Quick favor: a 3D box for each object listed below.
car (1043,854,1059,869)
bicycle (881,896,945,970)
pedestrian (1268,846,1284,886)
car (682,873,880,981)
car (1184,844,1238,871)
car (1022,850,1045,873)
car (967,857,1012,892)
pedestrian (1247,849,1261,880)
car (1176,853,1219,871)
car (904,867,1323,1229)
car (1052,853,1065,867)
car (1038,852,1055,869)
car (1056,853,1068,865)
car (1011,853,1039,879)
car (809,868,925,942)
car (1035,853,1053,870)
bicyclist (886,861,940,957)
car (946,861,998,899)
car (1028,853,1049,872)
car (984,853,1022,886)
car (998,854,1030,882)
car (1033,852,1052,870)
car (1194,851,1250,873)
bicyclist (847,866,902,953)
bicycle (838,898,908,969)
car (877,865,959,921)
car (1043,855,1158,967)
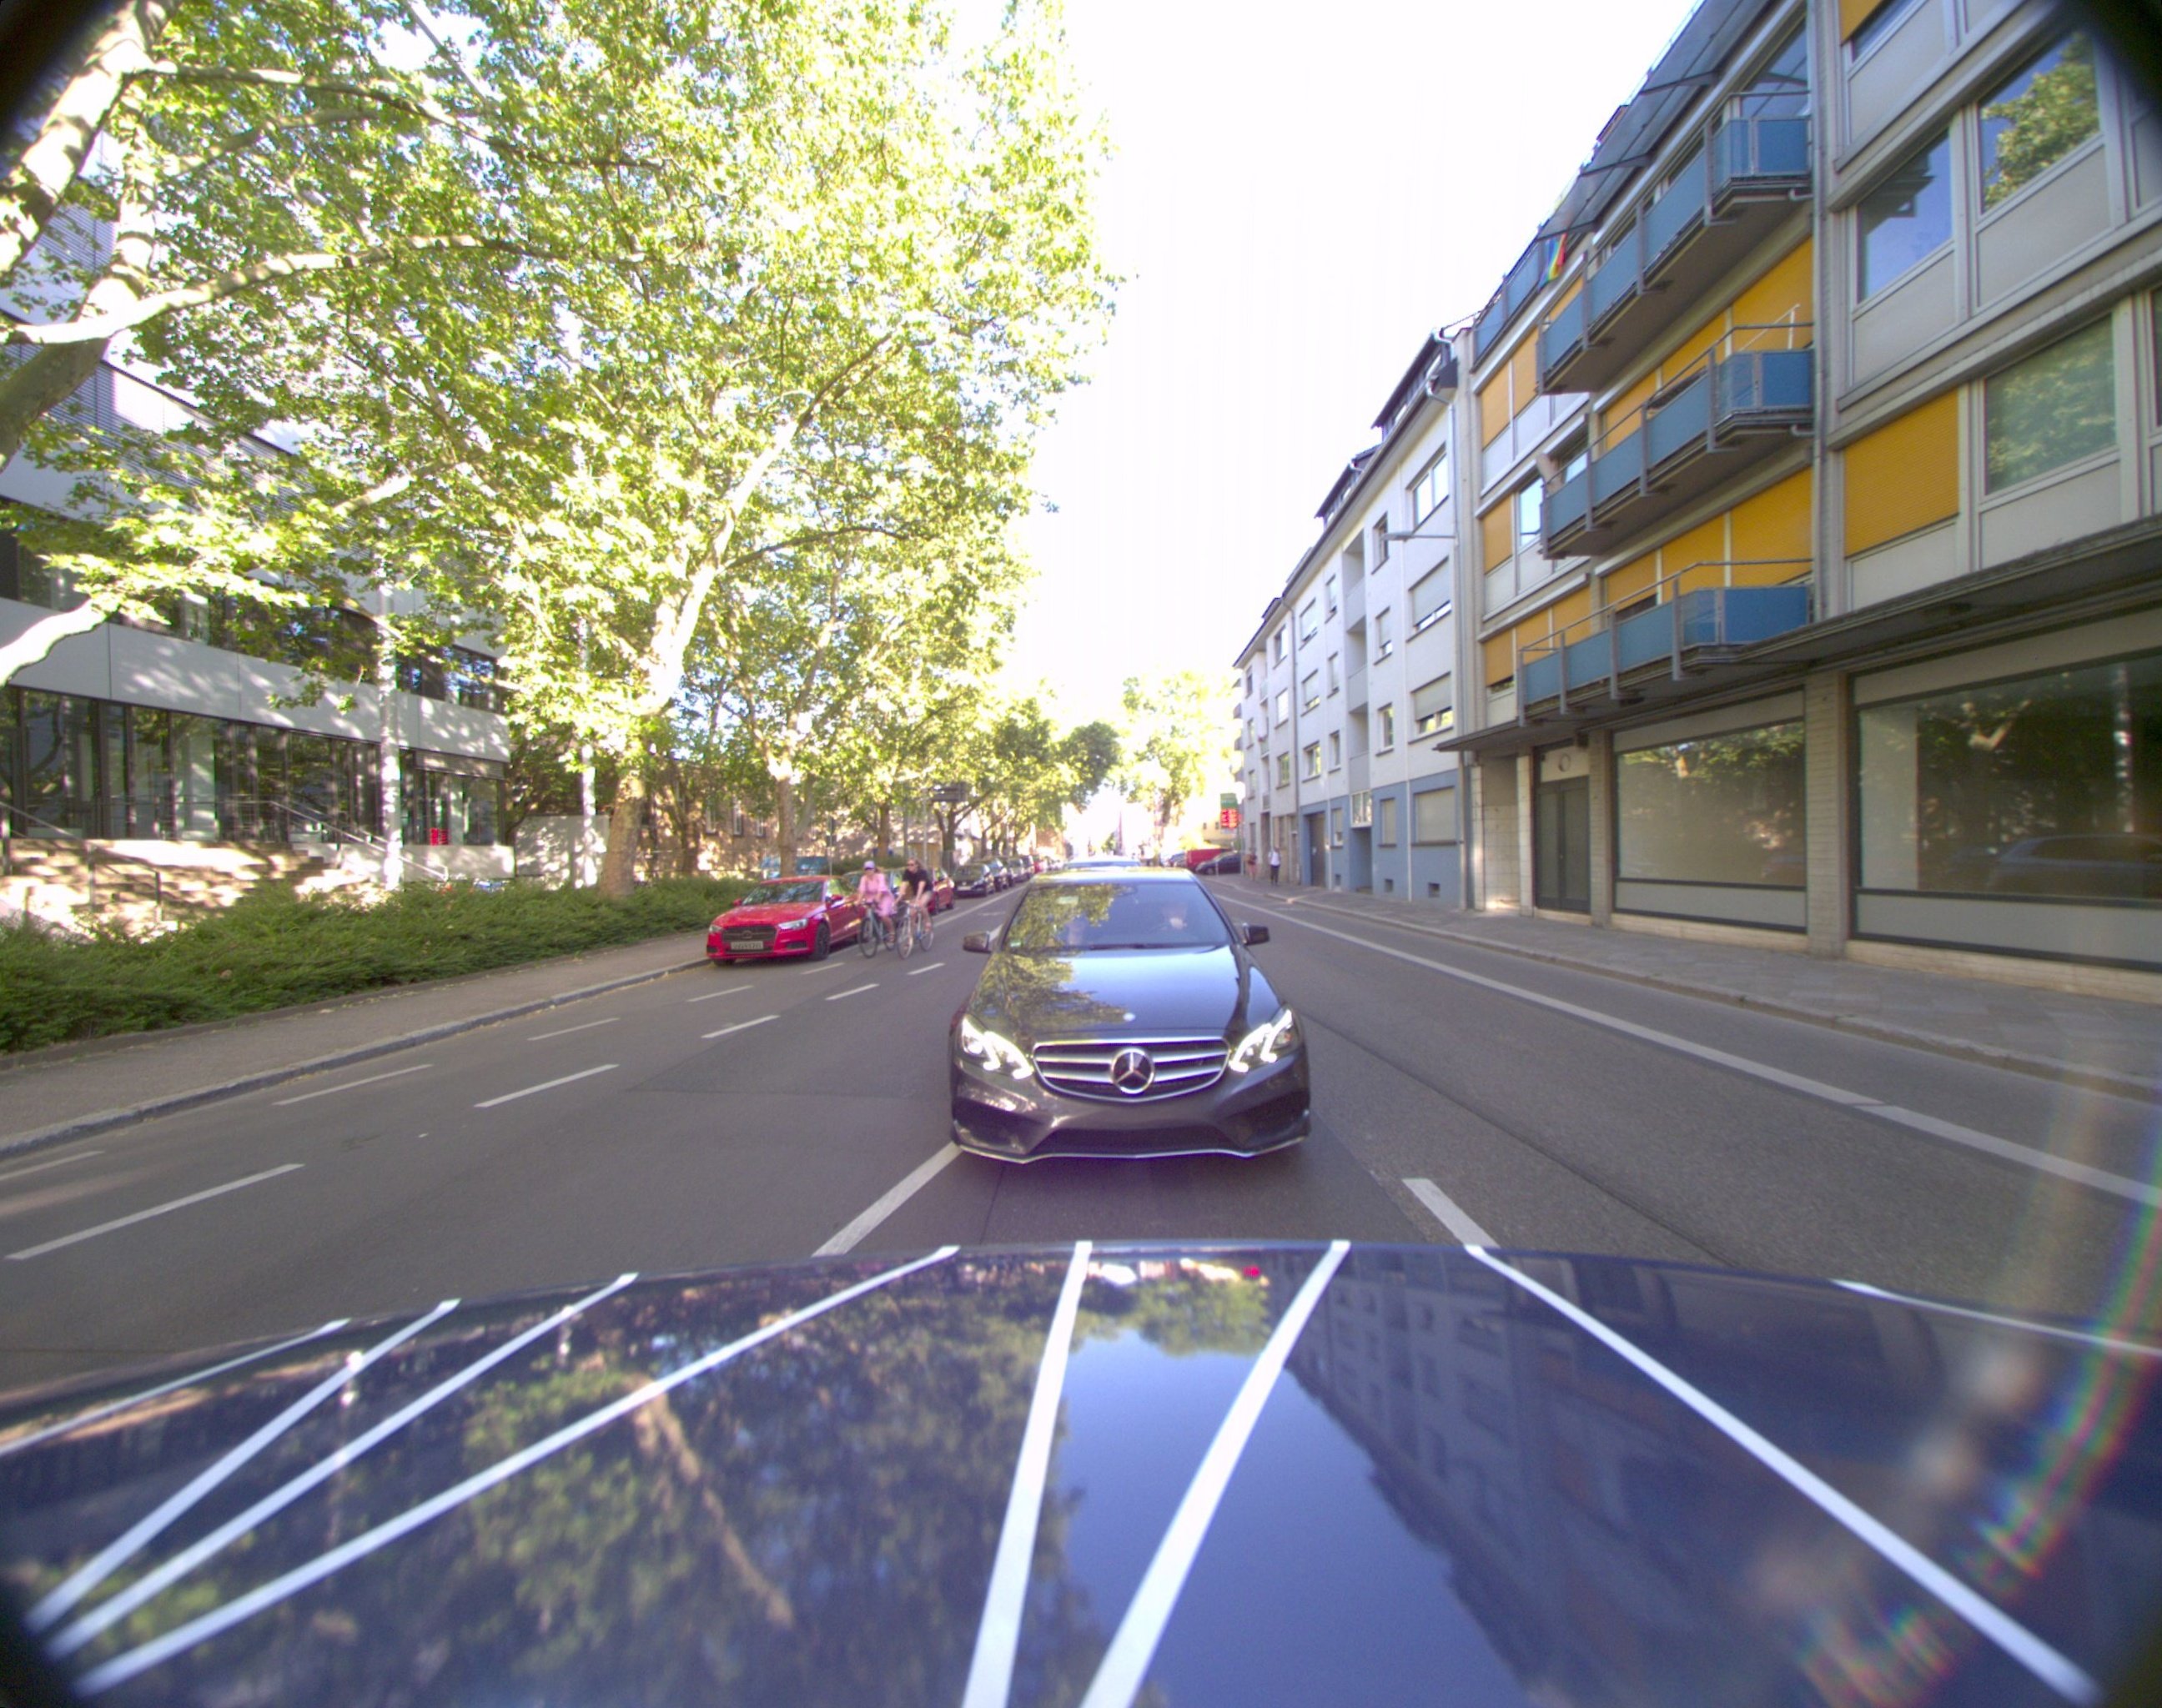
[{"bbox_3d":[-3.619,0.931,92.520,1.635,1.713,3.673,-3,0,1],"label":"car"},{"bbox_3d":[-2.759,1.267,12.634,0.612,1.020,1.731,-3,0,1],"label":"bicycle"},{"bbox_3d":[8.571,0.506,33.399,0.569,1.716,0.343,-3,1,1],"label":"pedestrian"},{"bbox_3d":[-5.145,1.166,13.704,1.804,1.455,4.125,-3,0,1],"label":"car"},{"bbox_3d":[10.240,0.266,59.938,3.927,1.912,1.636,-3,0,1],"label":"car"},{"bbox_3d":[-4.127,0.646,66.125,1.635,1.878,3.673,-3,0,1],"label":"car"},{"bbox_3d":[-4.521,0.975,38.045,1.635,1.578,3.845,-3,0,1],"label":"car"},{"bbox_3d":[8.638,0.517,37.924,0.569,1.509,0.343,-3,1,1],"label":"pedestrian"},{"bbox_3d":[9.596,0.642,62.642,3.325,1.241,1.295,-3,0,1],"label":"car"},{"bbox_3d":[0.174,0.907,5.461,1.804,1.455,4.125,-3,0,1],"label":"car"},{"bbox_3d":[-3.030,0.797,102.833,1.635,1.713,3.673,-3,0,1],"label":"car"},{"bbox_3d":[-3.938,0.722,86.168,1.635,1.713,3.673,-3,0,1],"label":"car"},{"bbox_3d":[-2.728,0.721,109.966,1.635,1.713,3.673,-3,0,1],"label":"car"},{"bbox_3d":[-4.070,0.834,55.515,1.635,1.799,3.673,-3,0,1],"label":"car"},{"bbox_3d":[-5.039,1.152,18.399,1.635,1.455,3.740,-3,0,1],"label":"car"},{"bbox_3d":[-3.926,0.765,82.057,1.635,1.713,3.673,-3,0,1],"label":"car"},{"bbox_3d":[-2.776,0.886,12.656,0.612,1.507,0.889,-3,1,1],"label":"bicyclist"},{"bbox_3d":[-4.695,1.099,33.176,1.635,1.455,3.740,-3,0,1],"label":"car"},{"bbox_3d":[-3.956,0.789,71.729,1.635,1.713,3.673,-3,0,1],"label":"car"},{"bbox_3d":[-4.489,0.859,44.124,1.635,1.795,3.845,-3,0,1],"label":"car"},{"bbox_3d":[-4.419,0.902,50.757,1.635,1.644,3.845,-3,0,1],"label":"car"},{"bbox_3d":[-3.974,0.721,78.131,1.635,1.713,3.673,-3,0,1],"label":"car"},{"bbox_3d":[10.135,0.563,54.714,3.670,1.403,1.636,-3,0,1],"label":"car"},{"bbox_3d":[-3.540,0.929,13.108,0.602,1.393,0.931,-3,1,1],"label":"bicyclist"},{"bbox_3d":[-3.523,1.319,13.024,0.602,0.979,1.881,-3,0,1],"label":"bicycle"},{"bbox_3d":[-4.983,1.149,23.697,1.635,1.455,3.740,-3,0,1],"label":"car"},{"bbox_3d":[0.331,0.884,13.753,1.680,1.622,4.125,-3,0,1],"label":"car"}]
